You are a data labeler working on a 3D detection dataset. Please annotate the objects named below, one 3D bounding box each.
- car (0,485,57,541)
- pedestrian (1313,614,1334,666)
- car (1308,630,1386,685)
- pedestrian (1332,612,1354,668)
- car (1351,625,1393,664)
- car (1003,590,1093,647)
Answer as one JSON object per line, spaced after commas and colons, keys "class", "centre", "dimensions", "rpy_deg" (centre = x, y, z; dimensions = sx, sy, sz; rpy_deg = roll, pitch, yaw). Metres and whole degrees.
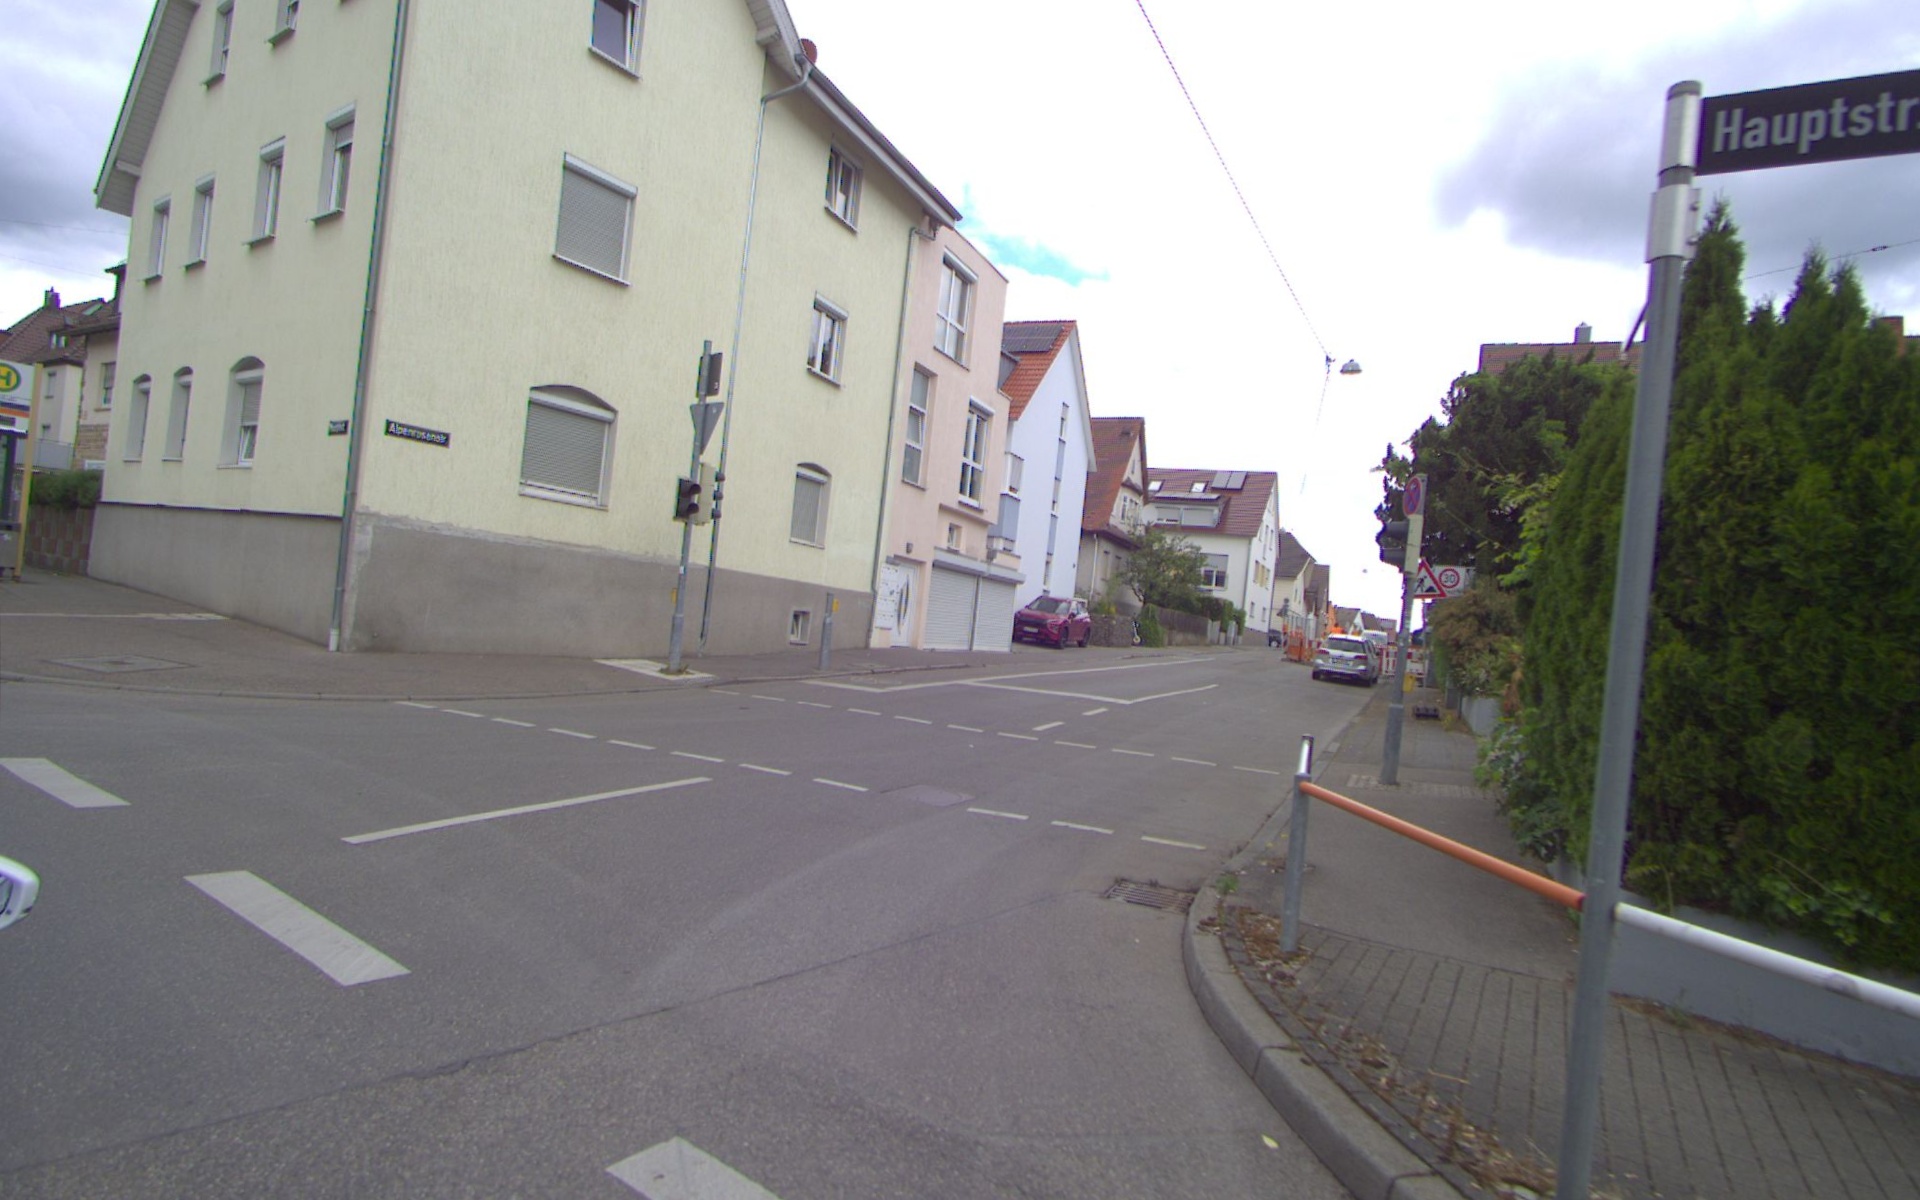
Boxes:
{"class": "car", "centre": [-29.125, -2.703, 28.887], "dimensions": [1.836, 1.507, 4.419], "rpy_deg": [5, 0, 35]}
{"class": "pedestrian", "centre": [14.923, 1.638, 41.279], "dimensions": [0.589, 2.039, 0.674], "rpy_deg": [7, 2, 24]}
{"class": "car", "centre": [12.170, 1.792, 31.528], "dimensions": [1.697, 1.426, 3.993], "rpy_deg": [7, 0, 28]}
{"class": "pedestrian", "centre": [15.539, 1.617, 40.814], "dimensions": [0.589, 2.199, 0.674], "rpy_deg": [7, 2, 24]}
{"class": "car", "centre": [25.977, 2.846, 63.365], "dimensions": [1.965, 2.036, 3.999], "rpy_deg": [6, -3, 27]}
{"class": "car", "centre": [3.068, 0.672, 34.394], "dimensions": [1.759, 1.614, 3.619], "rpy_deg": [8, 1, 25]}
